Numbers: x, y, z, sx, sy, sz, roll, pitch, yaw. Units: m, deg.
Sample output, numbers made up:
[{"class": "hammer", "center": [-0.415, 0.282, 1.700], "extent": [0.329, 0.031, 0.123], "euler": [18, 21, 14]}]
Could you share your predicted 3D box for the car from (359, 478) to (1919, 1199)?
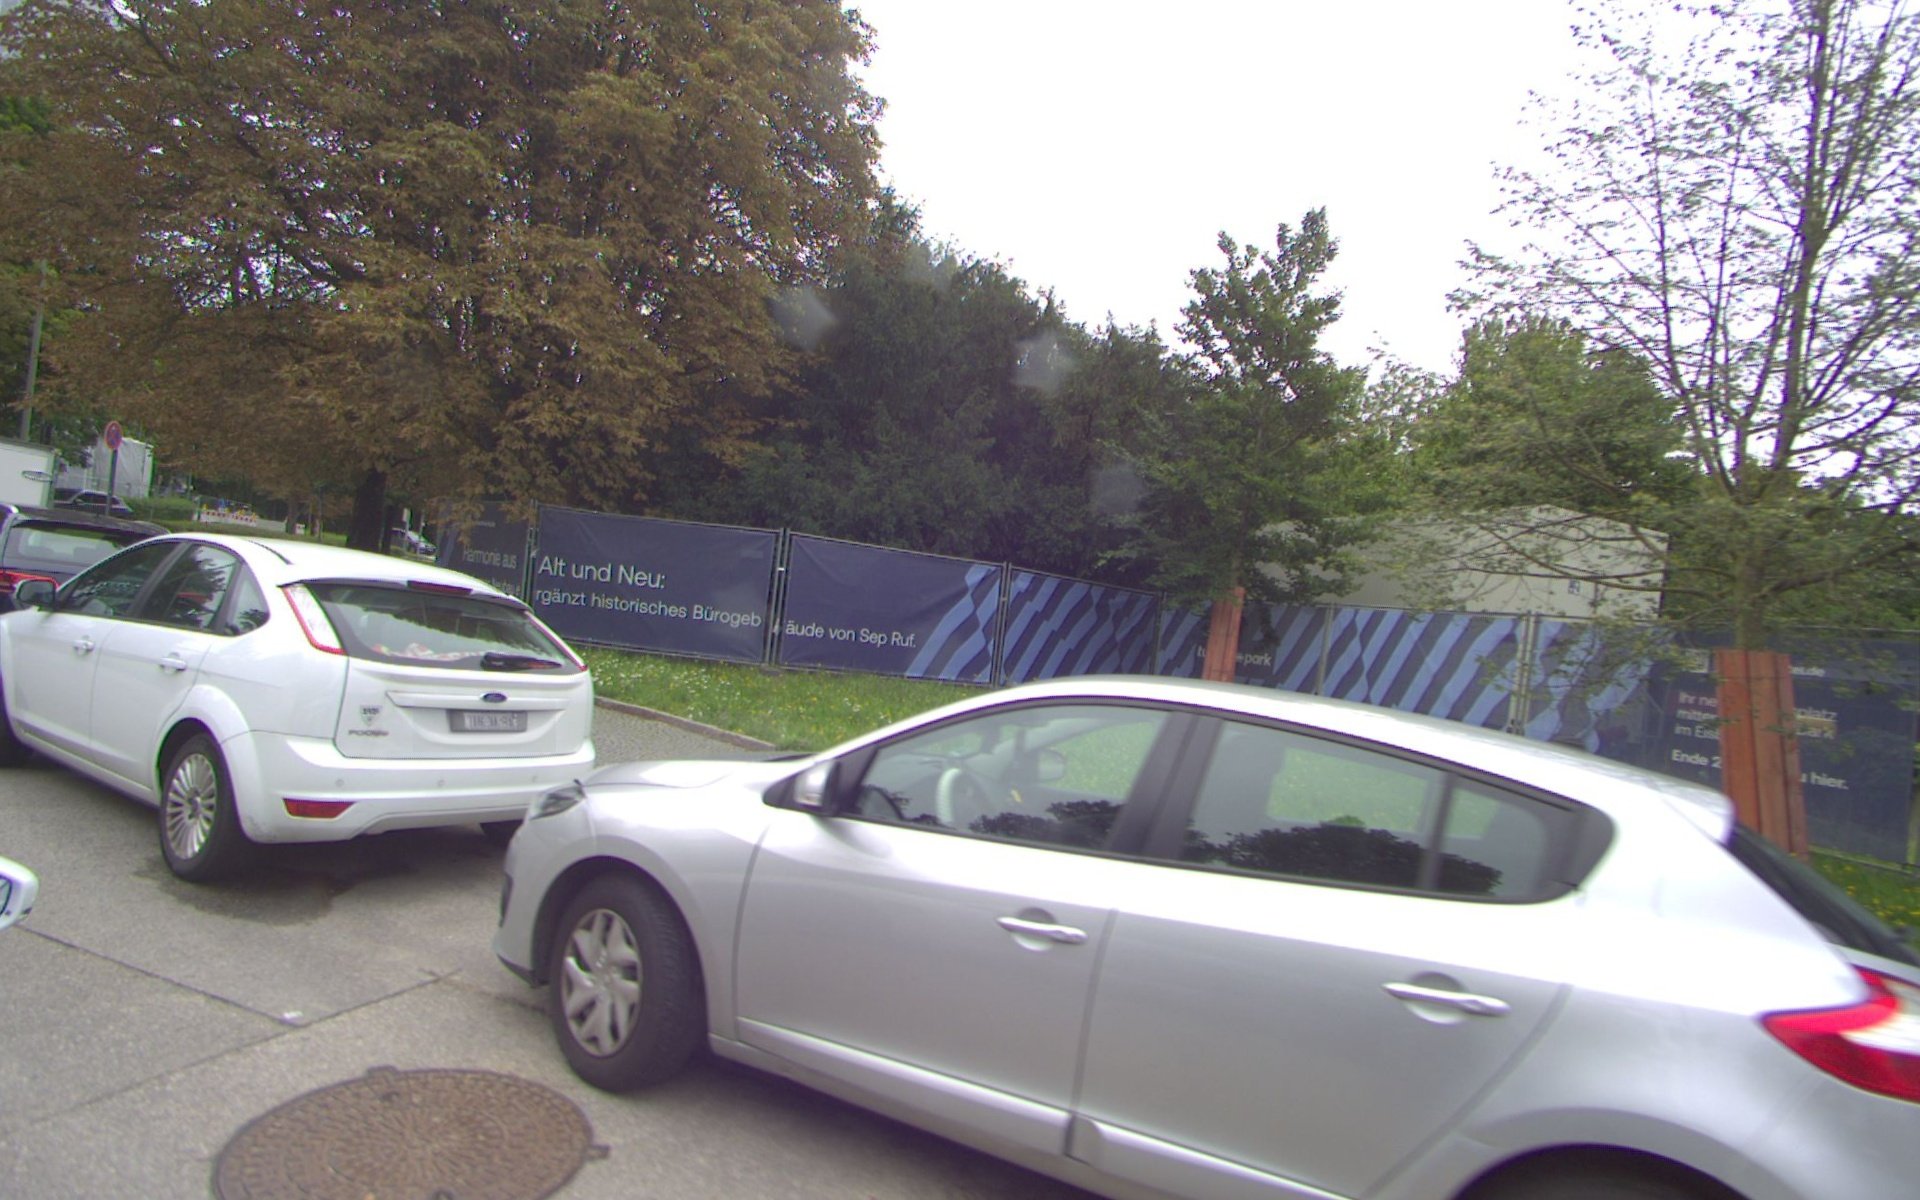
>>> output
[{"class": "car", "center": [0.462, 0.800, 3.372], "extent": [4.370, 1.747, 2.001], "euler": [7, -2, 25]}]

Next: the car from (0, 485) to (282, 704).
[{"class": "car", "center": [-7.961, -0.185, 8.831], "extent": [4.260, 1.455, 1.872], "euler": [8, 1, 35]}]

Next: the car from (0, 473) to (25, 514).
[{"class": "car", "center": [-35.296, -3.979, 34.956], "extent": [1.770, 1.400, 4.215], "euler": [7, -1, -5]}]

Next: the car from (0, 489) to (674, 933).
[{"class": "car", "center": [-3.821, 0.362, 5.673], "extent": [4.150, 1.504, 1.769], "euler": [8, 0, 31]}]

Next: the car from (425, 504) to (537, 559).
[{"class": "car", "center": [-42.432, -6.042, 89.146], "extent": [8.554, 3.490, 3.096], "euler": [8, 0, 13]}]

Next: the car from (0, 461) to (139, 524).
[{"class": "car", "center": [-35.169, -4.175, 39.549], "extent": [1.856, 1.624, 4.401], "euler": [7, -2, 3]}]

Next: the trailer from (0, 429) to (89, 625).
[{"class": "trailer", "center": [-12.112, -1.021, 12.326], "extent": [1.804, 2.038, 4.773], "euler": [7, 0, -44]}]
